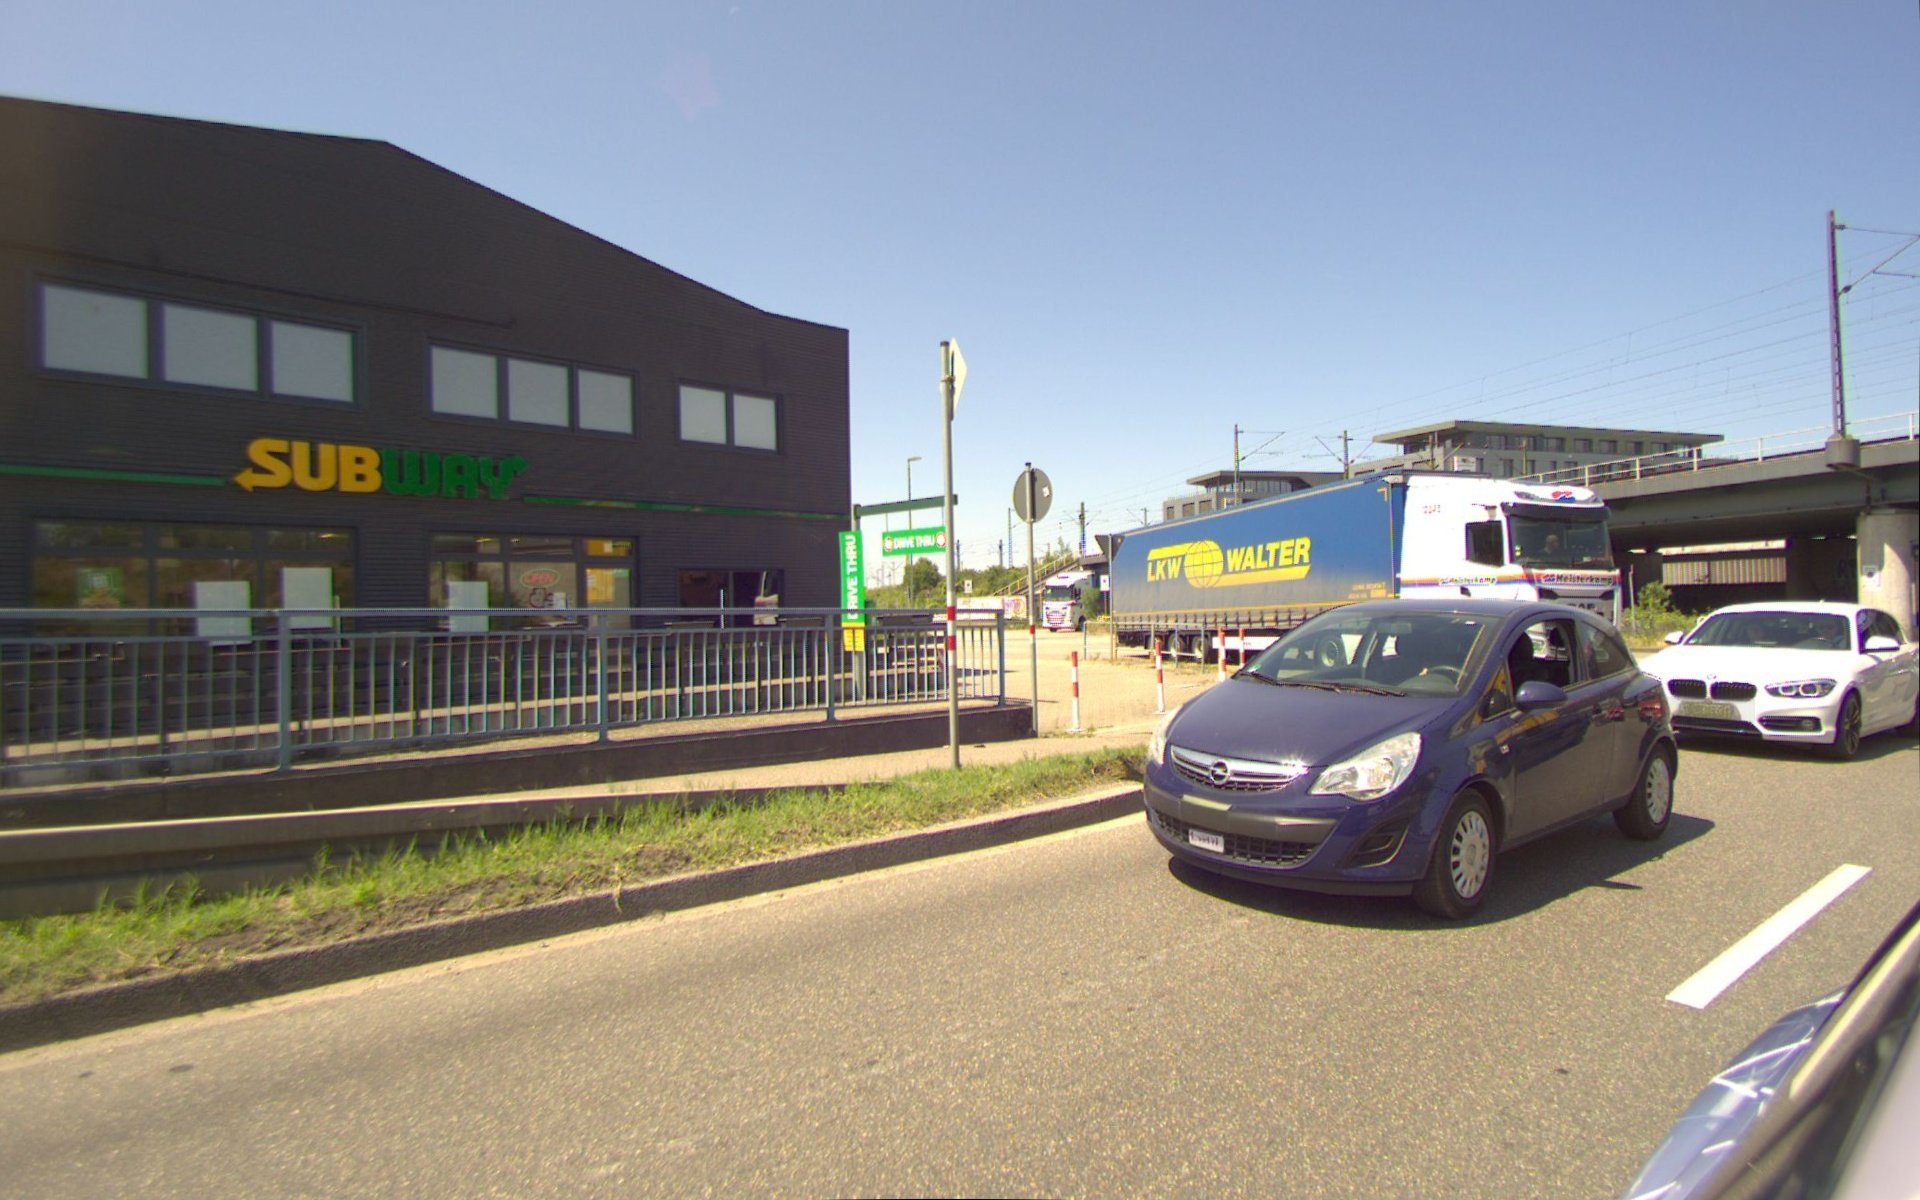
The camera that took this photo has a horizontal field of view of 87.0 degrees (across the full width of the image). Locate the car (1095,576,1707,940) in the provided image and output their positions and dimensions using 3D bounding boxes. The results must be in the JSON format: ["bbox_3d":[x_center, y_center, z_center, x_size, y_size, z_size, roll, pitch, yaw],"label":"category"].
[{"bbox_3d":[2.723,0.644,5.906,3.819,1.462,1.650,0,-1,-38],"label":"car"}]

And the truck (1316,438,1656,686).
[{"bbox_3d":[10.058,-0.662,20.087,2.522,4.153,5.774,-1,0,-20],"label":"truck"}]

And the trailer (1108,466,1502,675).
[{"bbox_3d":[7.970,-0.517,27.042,2.448,4.142,13.931,-1,-1,-15],"label":"trailer"}]

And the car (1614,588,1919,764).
[{"bbox_3d":[8.604,0.632,10.446,3.976,1.461,1.764,0,2,-36],"label":"car"}]

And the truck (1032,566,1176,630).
[{"bbox_3d":[10.972,-0.237,74.184,2.736,4.155,17.217,-1,0,36],"label":"truck"}]
